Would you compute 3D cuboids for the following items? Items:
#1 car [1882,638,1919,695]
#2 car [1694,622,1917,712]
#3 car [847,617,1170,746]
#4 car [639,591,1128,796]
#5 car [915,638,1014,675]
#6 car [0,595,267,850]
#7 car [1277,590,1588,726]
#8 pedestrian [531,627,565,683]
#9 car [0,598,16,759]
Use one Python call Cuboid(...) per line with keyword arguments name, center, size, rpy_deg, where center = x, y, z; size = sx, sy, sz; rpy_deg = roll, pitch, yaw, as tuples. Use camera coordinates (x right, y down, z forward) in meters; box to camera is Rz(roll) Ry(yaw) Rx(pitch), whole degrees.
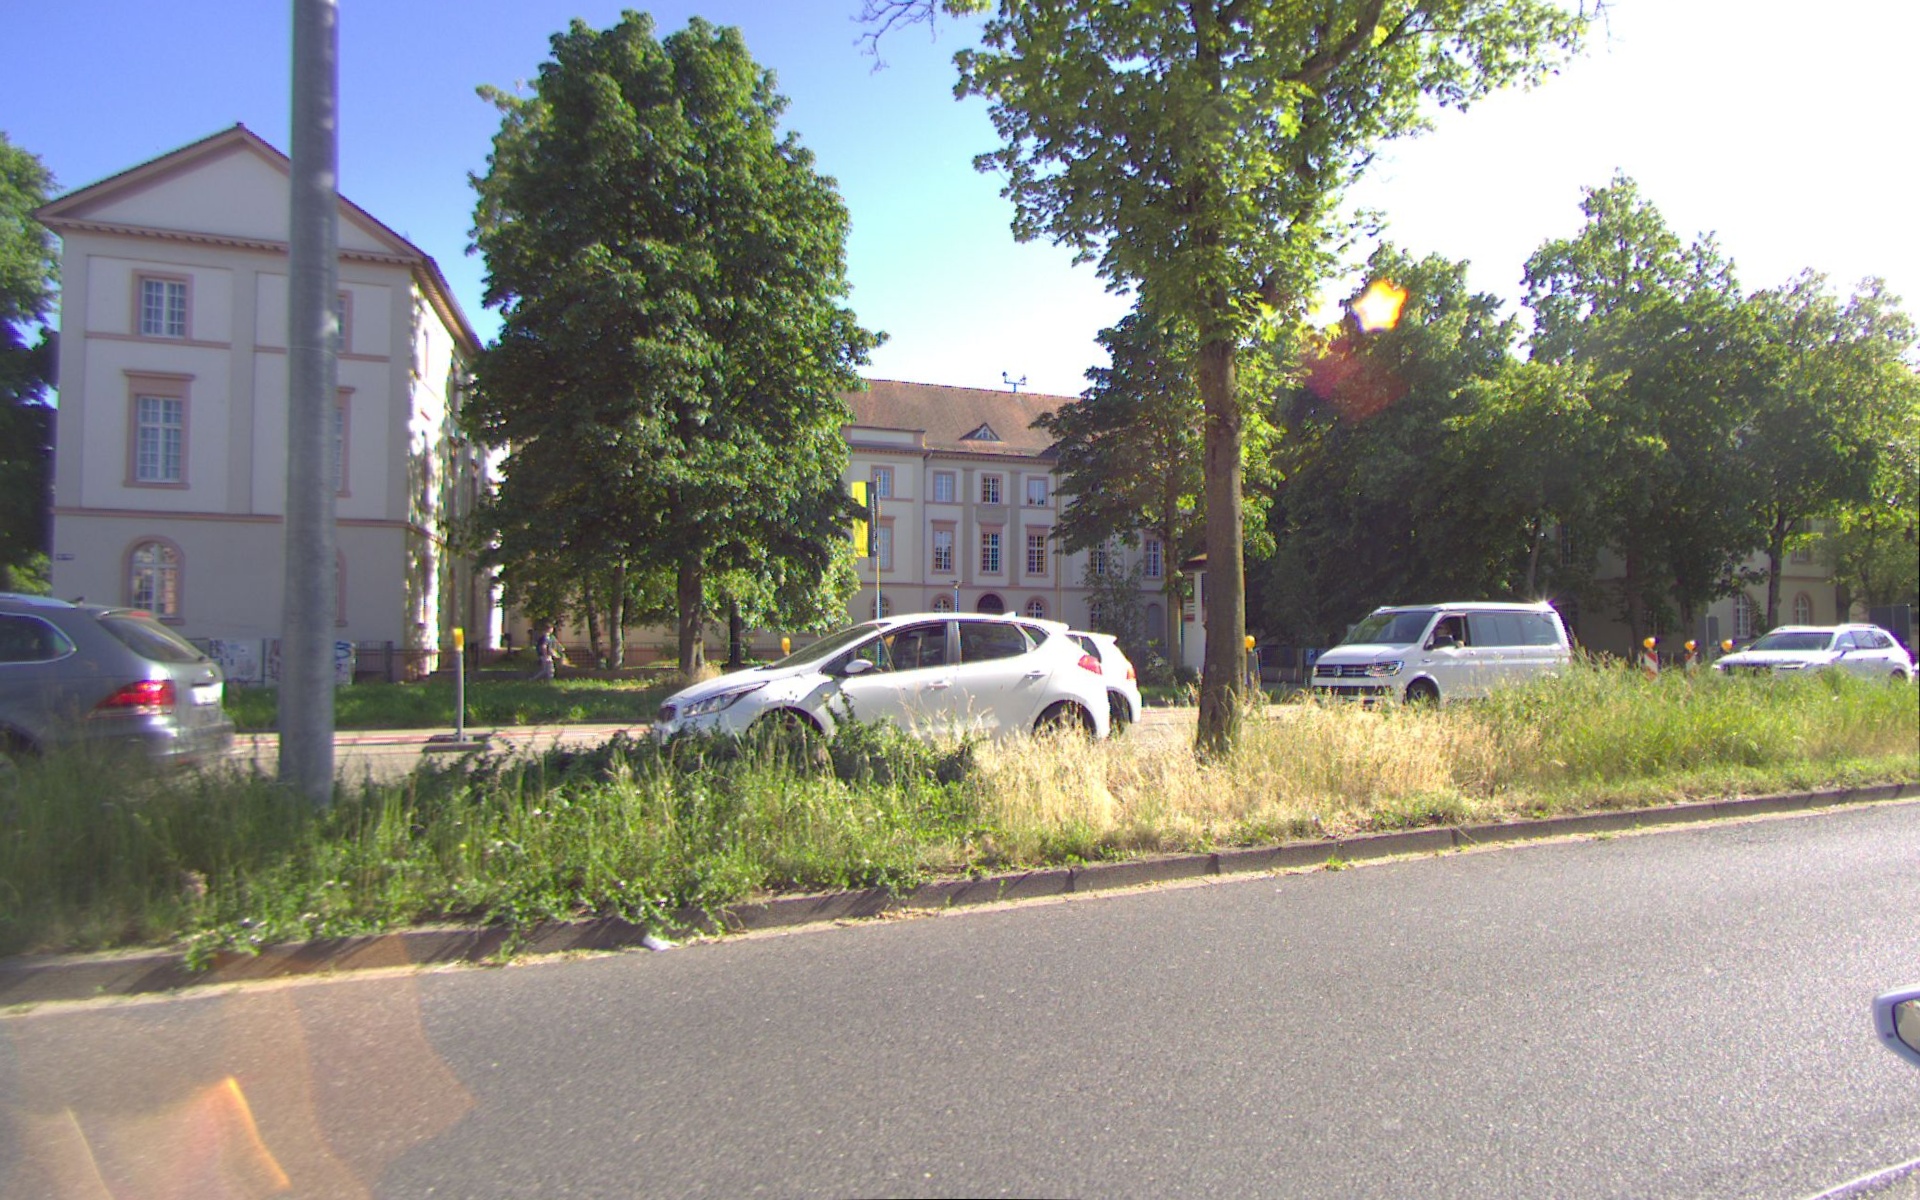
Cuboid(name="car", center=(25.021, 1.646, 24.865), size=(4.200, 1.369, 1.791), rpy_deg=(2, -2, -25))
Cuboid(name="car", center=(18.304, 1.412, 21.713), size=(4.964, 1.766, 1.791), rpy_deg=(2, -2, -25))
Cuboid(name="car", center=(0.665, 1.046, 13.611), size=(4.024, 1.539, 1.791), rpy_deg=(2, -2, -25))
Cuboid(name="car", center=(-0.687, 0.781, 9.280), size=(4.148, 1.539, 1.791), rpy_deg=(2, -2, -25))
Cuboid(name="car", center=(0.218, 2.823, 50.137), size=(4.622, 1.511, 1.638), rpy_deg=(5, -3, -24))
Cuboid(name="car", center=(-7.200, 0.725, 6.385), size=(4.304, 1.539, 1.790), rpy_deg=(1, -1, -25))
Cuboid(name="car", center=(8.147, 0.972, 17.305), size=(4.949, 2.054, 2.227), rpy_deg=(2, -2, -25))
Cuboid(name="pedestrian", center=(-11.547, 1.533, 28.120), size=(0.772, 1.556, 0.736), rpy_deg=(2, -2, -29))
Cuboid(name="car", center=(-10.818, 0.668, 8.073), size=(4.288, 1.539, 1.790), rpy_deg=(2, -1, -25))
